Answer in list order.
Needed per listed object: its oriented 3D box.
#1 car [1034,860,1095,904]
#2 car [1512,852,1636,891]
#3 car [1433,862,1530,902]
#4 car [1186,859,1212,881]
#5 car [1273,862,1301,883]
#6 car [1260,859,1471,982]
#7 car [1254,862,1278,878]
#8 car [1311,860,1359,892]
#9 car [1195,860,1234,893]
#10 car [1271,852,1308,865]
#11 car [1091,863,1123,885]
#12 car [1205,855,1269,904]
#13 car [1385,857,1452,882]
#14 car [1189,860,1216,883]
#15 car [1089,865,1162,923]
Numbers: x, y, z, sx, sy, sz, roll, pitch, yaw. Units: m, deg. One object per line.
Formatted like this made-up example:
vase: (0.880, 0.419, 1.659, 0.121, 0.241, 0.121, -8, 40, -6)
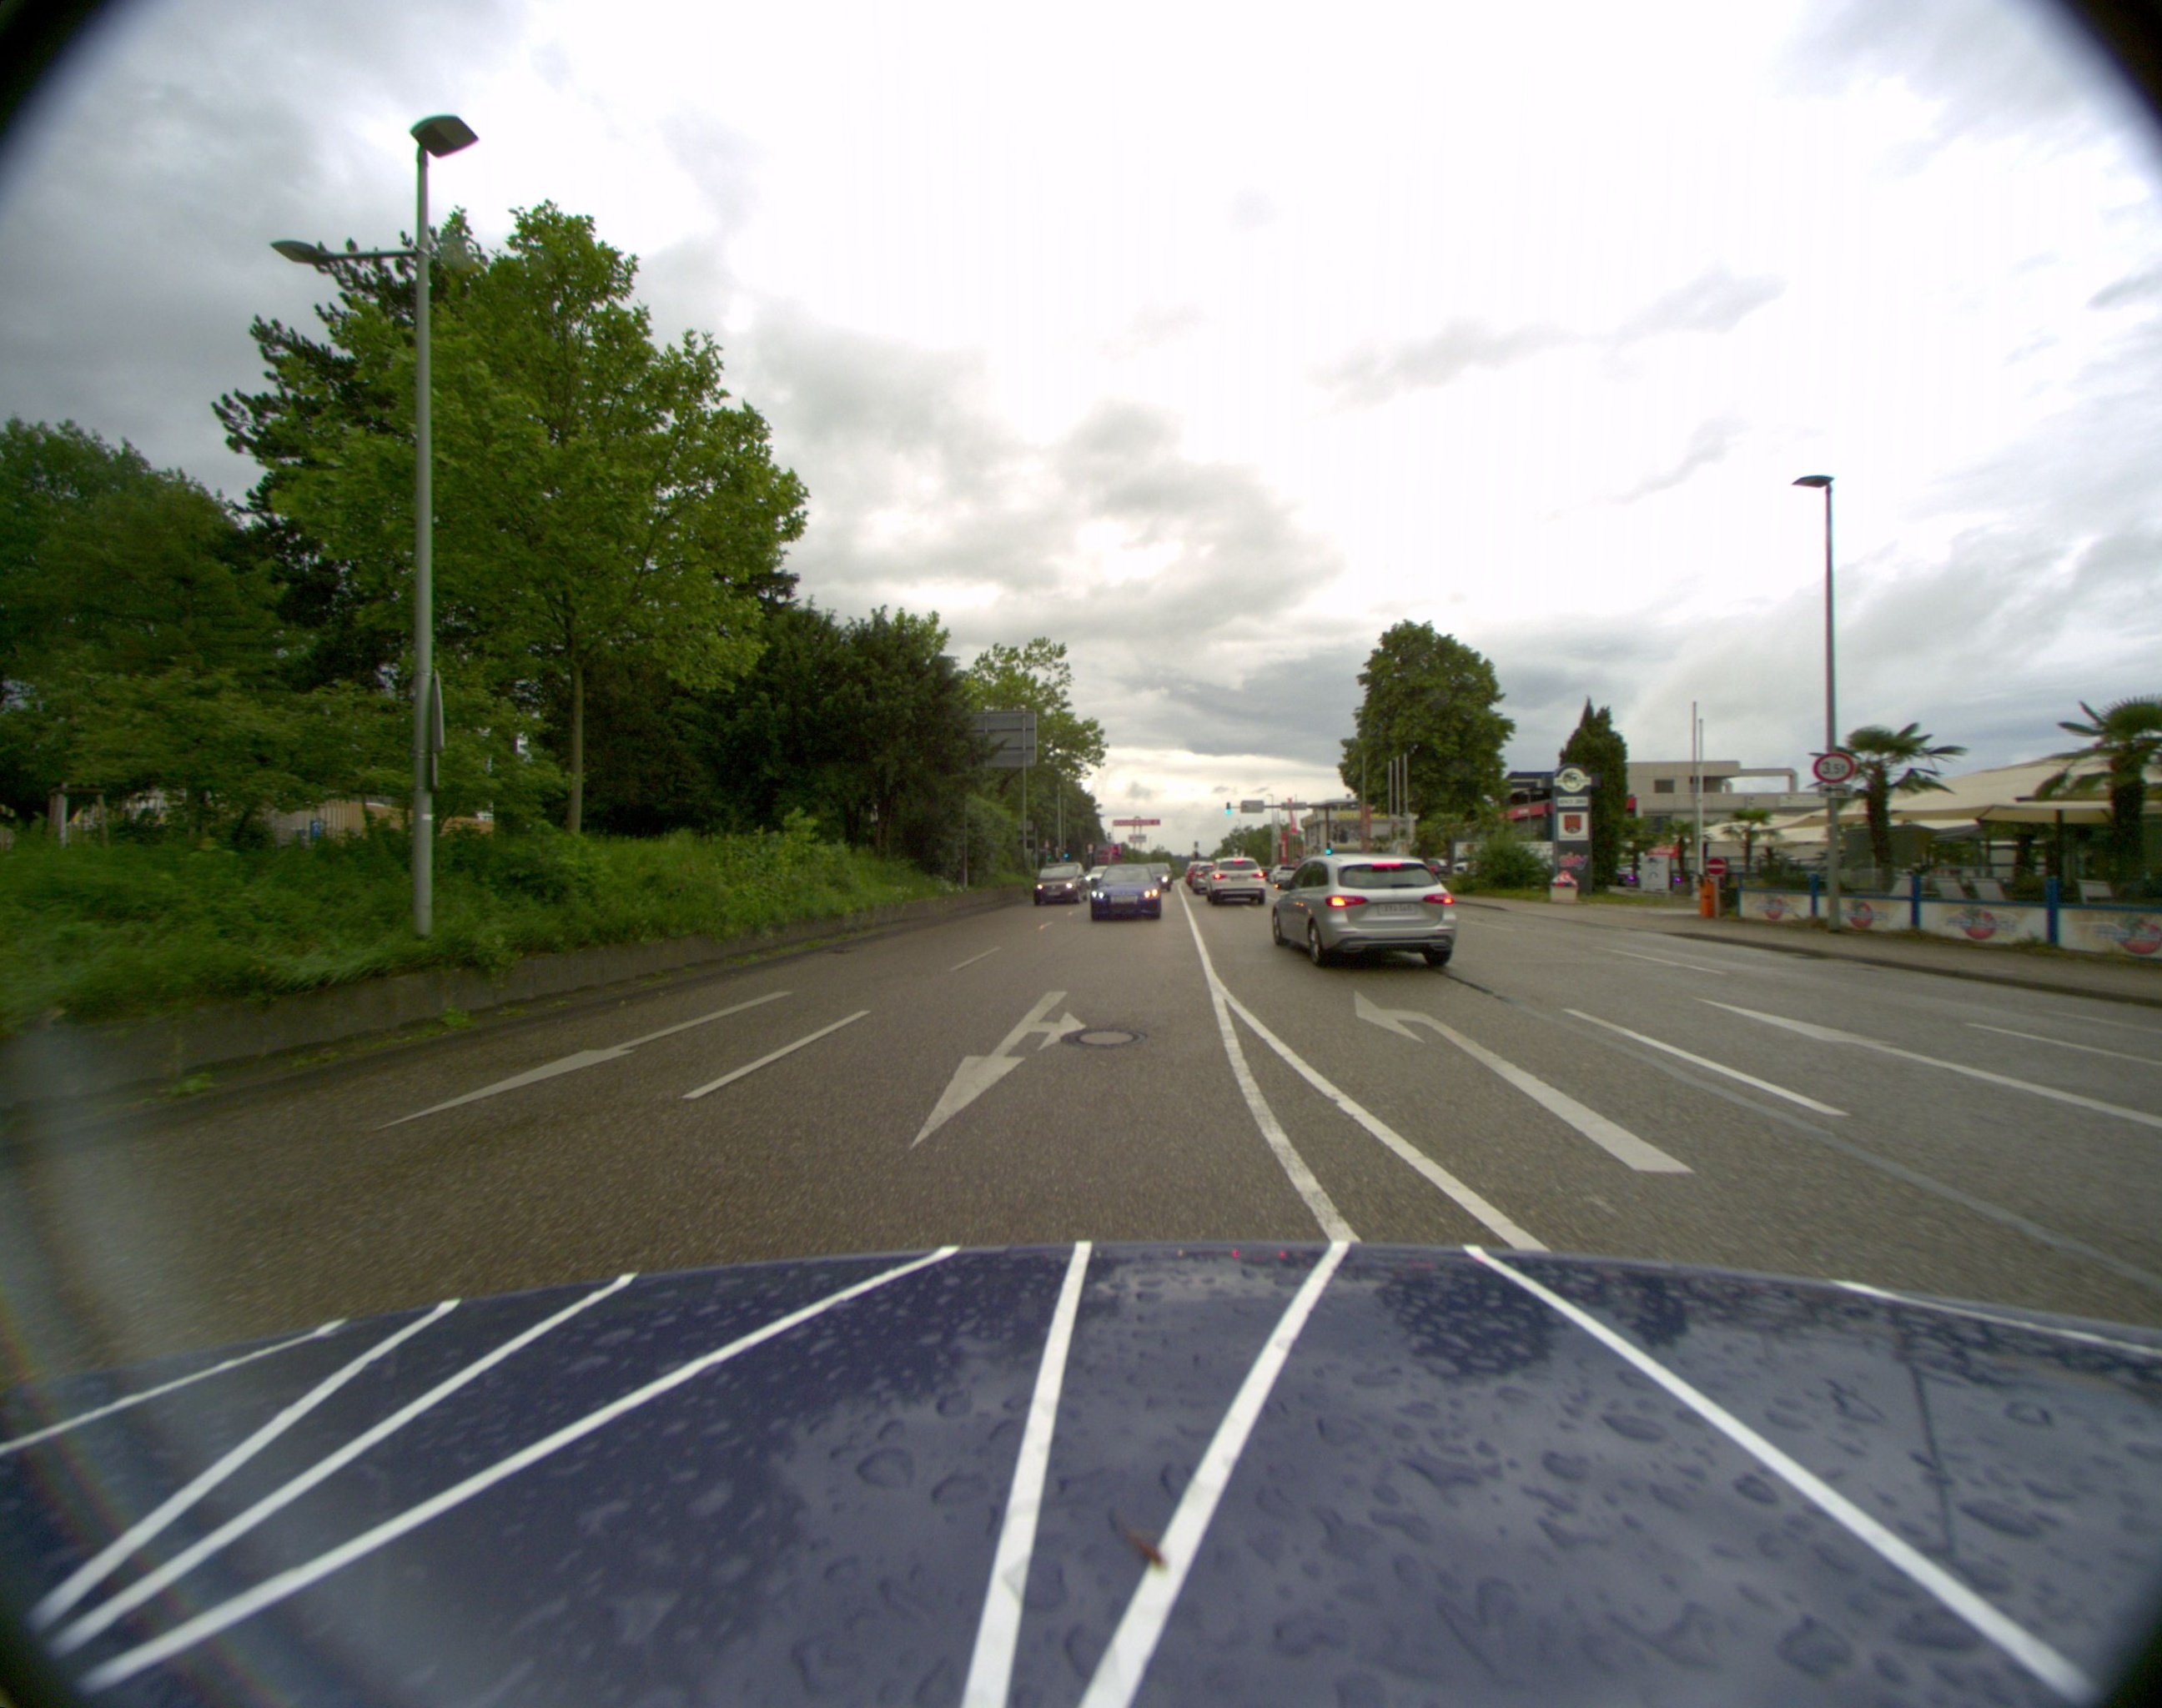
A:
car: (-0.589, 1.072, 30.146, 1.750, 1.599, 3.984, -1, -1, 8)
car: (20.881, 0.748, 32.240, 4.371, 1.456, 1.996, 2, 1, -17)
car: (20.942, 1.463, 39.747, 4.405, 2.001, 1.997, 2, -1, -20)
car: (9.215, 1.277, 59.575, 1.843, 1.639, 4.301, 0, -1, 7)
car: (15.275, 1.353, 56.475, 1.640, 1.469, 4.048, 0, 0, 11)
car: (4.067, 0.853, 11.668, 1.754, 1.499, 4.302, 0, 0, 2)
car: (16.853, 1.463, 69.376, 1.605, 1.391, 4.408, 1, -1, 6)
car: (13.432, 1.126, 40.395, 1.640, 1.524, 3.974, 1, 0, 7)
car: (6.223, 1.017, 35.809, 1.605, 1.432, 3.951, -2, 0, 7)
car: (20.791, 0.455, 75.733, 3.392, 1.160, 1.455, 0, -2, 6)
car: (1.802, 1.355, 52.236, 1.783, 1.448, 4.683, -1, -1, 7)
car: (5.401, 0.846, 26.767, 1.791, 1.571, 4.241, -1, 0, 6)
car: (21.600, 0.965, 48.670, 3.607, 1.495, 1.669, 0, 0, 37)
car: (8.064, 1.127, 50.508, 1.635, 1.425, 4.147, 0, 0, 7)
car: (1.383, 1.079, 21.699, 1.783, 1.448, 4.600, -1, -1, 7)
